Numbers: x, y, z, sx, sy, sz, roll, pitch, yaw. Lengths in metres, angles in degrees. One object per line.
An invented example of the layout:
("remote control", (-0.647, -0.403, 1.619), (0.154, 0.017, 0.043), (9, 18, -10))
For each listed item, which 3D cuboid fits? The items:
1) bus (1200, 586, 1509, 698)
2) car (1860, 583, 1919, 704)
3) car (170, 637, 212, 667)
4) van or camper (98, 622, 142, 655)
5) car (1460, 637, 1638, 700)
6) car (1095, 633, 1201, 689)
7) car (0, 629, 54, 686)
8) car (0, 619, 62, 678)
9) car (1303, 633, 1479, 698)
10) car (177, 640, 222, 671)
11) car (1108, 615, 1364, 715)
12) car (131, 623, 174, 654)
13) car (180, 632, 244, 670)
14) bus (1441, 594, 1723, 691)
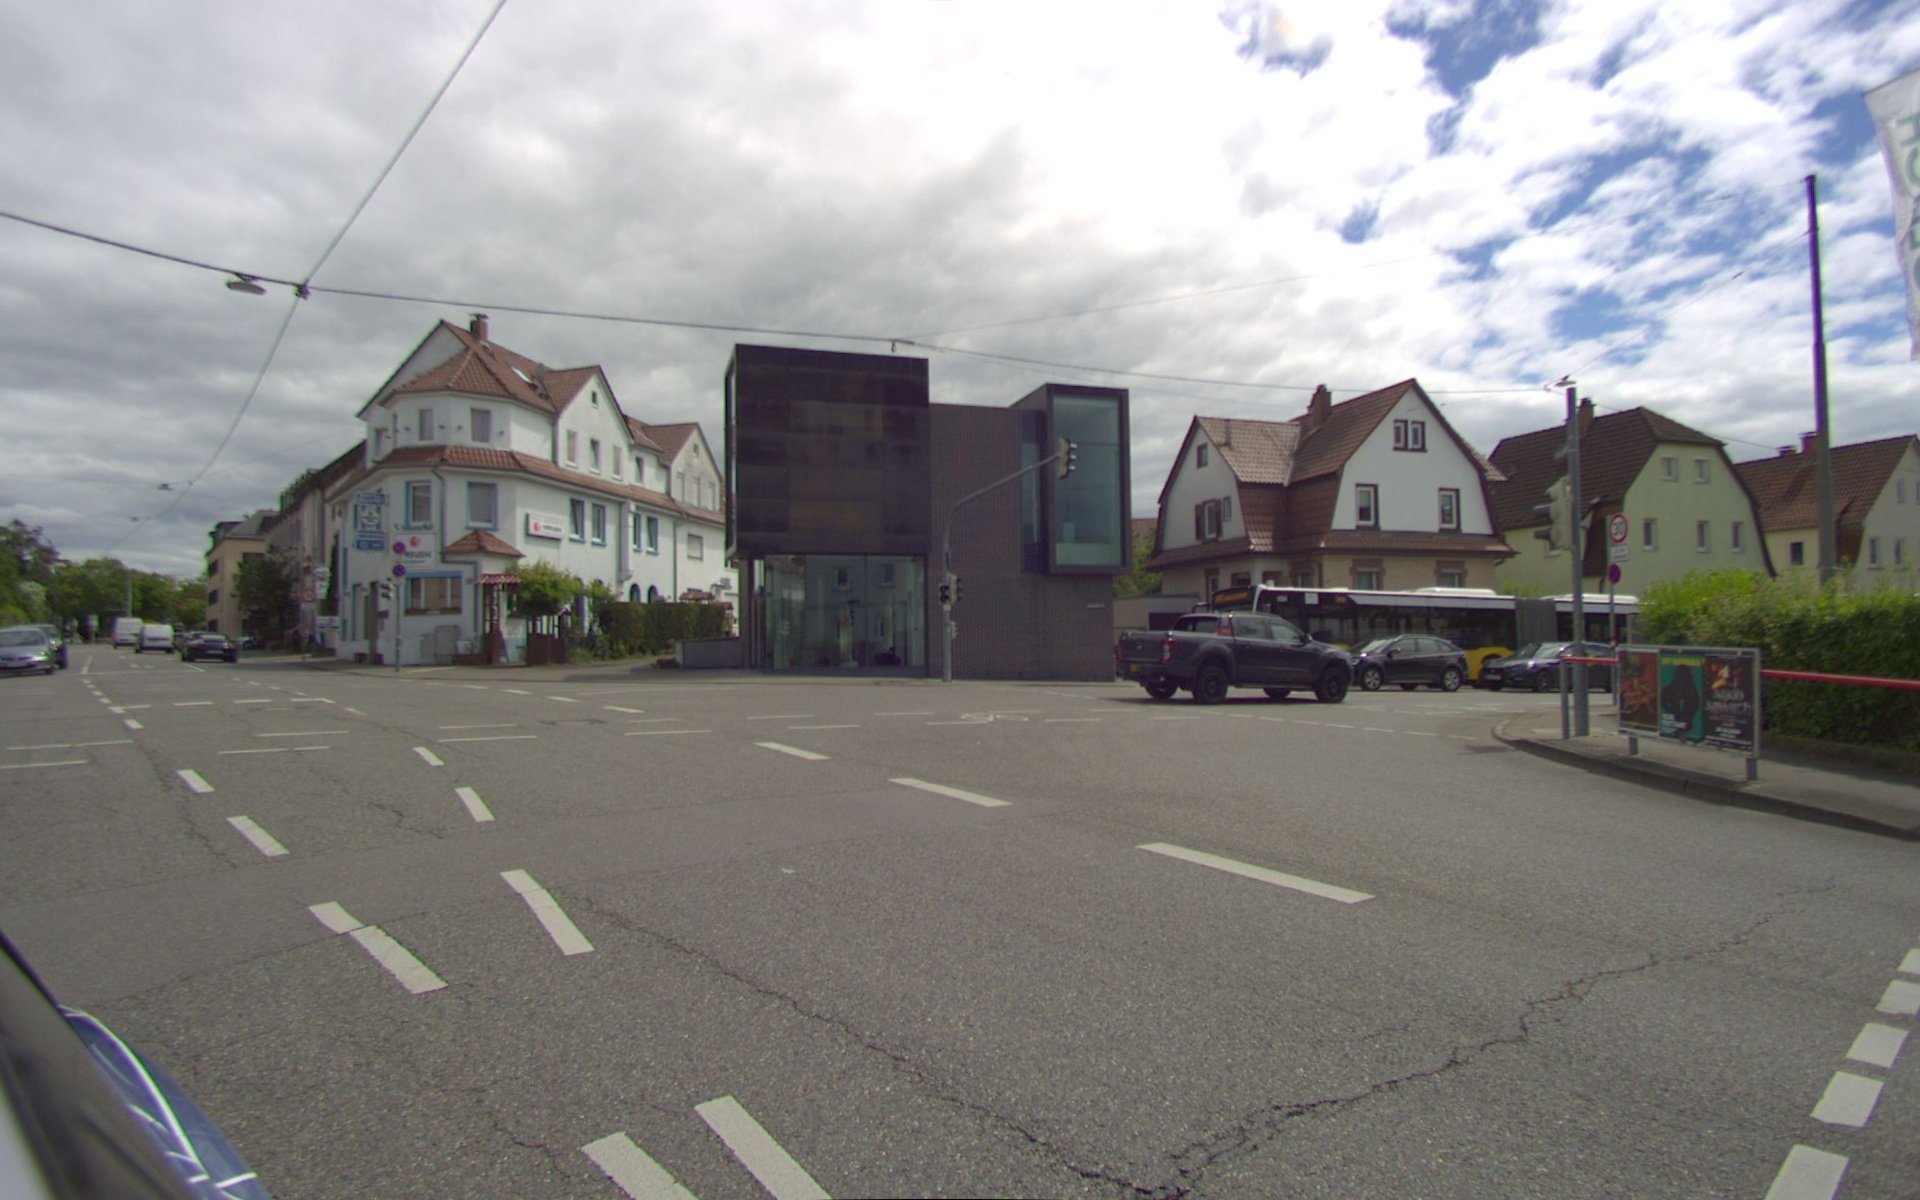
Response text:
("bus", (11.999, 1.306, 30.767), (9.032, 3.084, 2.795), (1, -3, -18))
("car", (18.089, 0.824, 18.739), (2.000, 2.029, 5.051), (-2, -4, 43))
("car", (-54.909, 3.707, 72.207), (1.969, 2.029, 4.004), (3, -4, -43))
("van or camper", (-71.139, 3.321, 85.659), (5.647, 2.607, 2.083), (-3, -7, 44))
("car", (16.377, 1.879, 28.201), (4.112, 1.652, 2.006), (1, -3, -17))
("car", (6.779, 2.169, 36.983), (1.965, 1.652, 4.014), (2, 2, -21))
("car", (-29.981, 1.769, 31.892), (1.969, 1.697, 4.006), (3, -3, -41))
("car", (-33.660, 1.737, 36.369), (1.969, 2.029, 4.005), (2, -3, -41))
("car", (11.472, 1.727, 27.044), (3.932, 1.652, 2.006), (1, -3, -17))
("car", (-51.390, 3.709, 68.373), (1.970, 2.029, 4.004), (3, -4, -43))
("car", (5.728, 1.321, 20.885), (5.130, 1.863, 1.894), (2, -3, -27))
("car", (-51.622, 2.496, 64.673), (1.794, 1.826, 4.423), (4, -5, -43))
("car", (-33.276, 2.262, 44.993), (1.968, 1.541, 4.006), (6, -5, -40))
("bus", (20.658, 1.448, 33.603), (9.032, 2.937, 2.795), (1, -3, -18))
